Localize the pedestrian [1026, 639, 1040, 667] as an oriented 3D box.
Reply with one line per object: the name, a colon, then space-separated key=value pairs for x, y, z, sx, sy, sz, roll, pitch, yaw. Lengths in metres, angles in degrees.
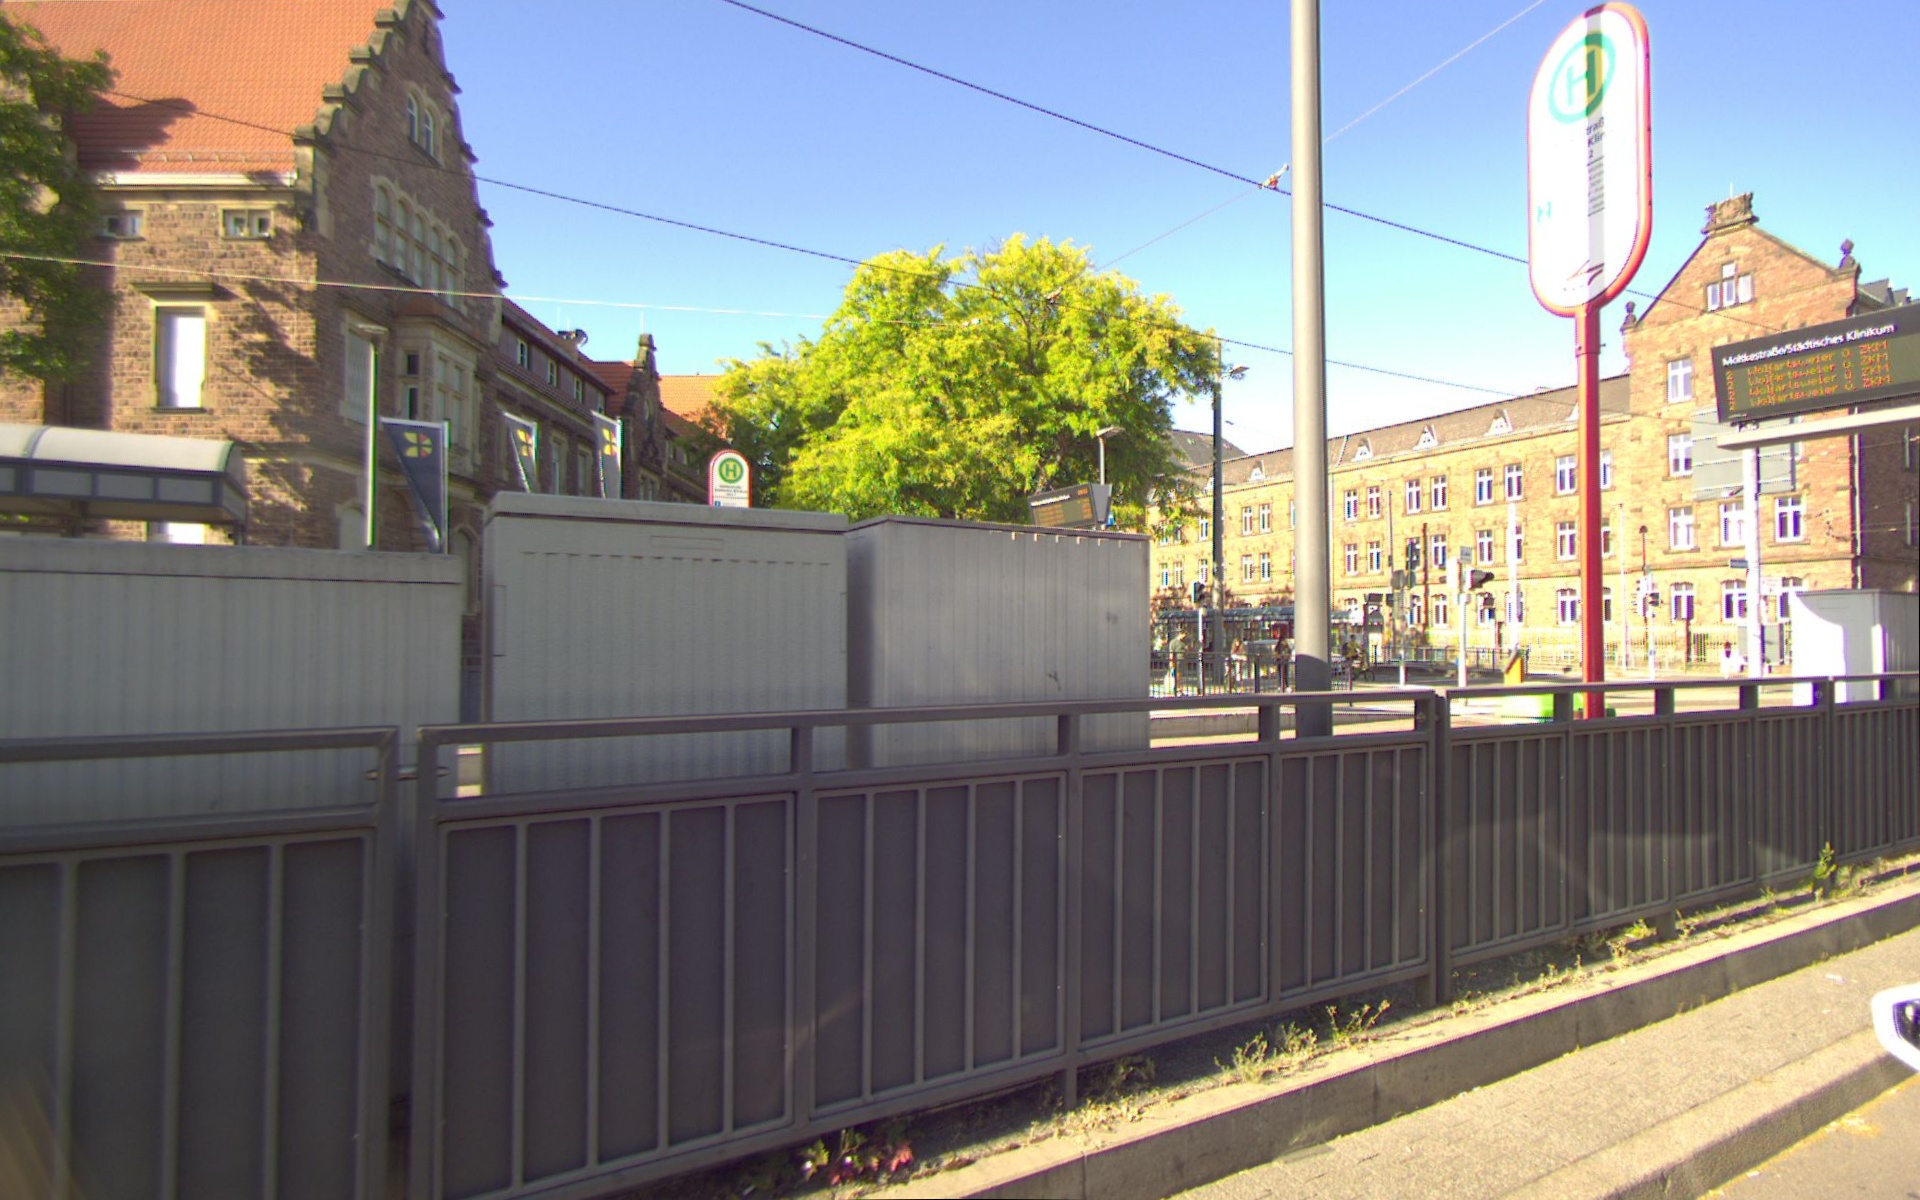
pedestrian: x=4.264 y=3.078 z=58.754 sx=0.533 sy=1.619 sz=0.712 roll=2 pitch=-2 yaw=-29

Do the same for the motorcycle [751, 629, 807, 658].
motorcycle: x=-12.121 y=2.920 z=67.543 sx=1.289 sy=1.852 sz=3.758 roll=-1 pitch=-2 yaw=38

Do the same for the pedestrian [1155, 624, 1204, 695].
pedestrian: x=5.918 y=1.592 z=27.101 sx=1.082 sy=1.885 sz=0.724 roll=2 pitch=-2 yaw=-27

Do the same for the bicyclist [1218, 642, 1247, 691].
bicyclist: x=7.896 y=1.917 z=29.133 sx=0.679 sy=1.402 sz=0.532 roll=0 pitch=-2 yaw=35

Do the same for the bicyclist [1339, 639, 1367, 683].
bicyclist: x=14.894 y=2.305 z=38.065 sx=0.792 sy=1.657 sz=0.631 roll=2 pitch=-2 yaw=-29

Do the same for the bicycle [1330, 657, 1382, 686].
bicycle: x=14.939 y=2.683 z=37.955 sx=0.792 sy=1.027 sz=1.727 roll=2 pitch=-2 yaw=-29

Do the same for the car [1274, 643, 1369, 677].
car: x=16.819 y=2.757 z=46.898 sx=1.853 sy=1.466 sz=4.050 roll=2 pitch=-2 yaw=-27

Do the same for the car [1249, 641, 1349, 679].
car: x=14.798 y=2.612 z=44.077 sx=1.853 sy=1.542 sz=4.050 roll=2 pitch=-2 yaw=-27

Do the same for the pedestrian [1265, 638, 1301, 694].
pedestrian: x=9.360 y=1.893 z=29.107 sx=0.816 sy=1.590 sz=0.574 roll=0 pitch=-1 yaw=-9

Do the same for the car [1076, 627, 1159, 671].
car: x=9.230 y=2.866 z=59.265 sx=2.234 sy=2.485 sz=5.006 roll=2 pitch=-2 yaw=-30

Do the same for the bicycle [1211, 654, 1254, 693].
bicycle: x=7.927 y=2.113 z=29.177 sx=0.682 sy=1.063 sz=1.664 roll=0 pitch=-2 yaw=34
